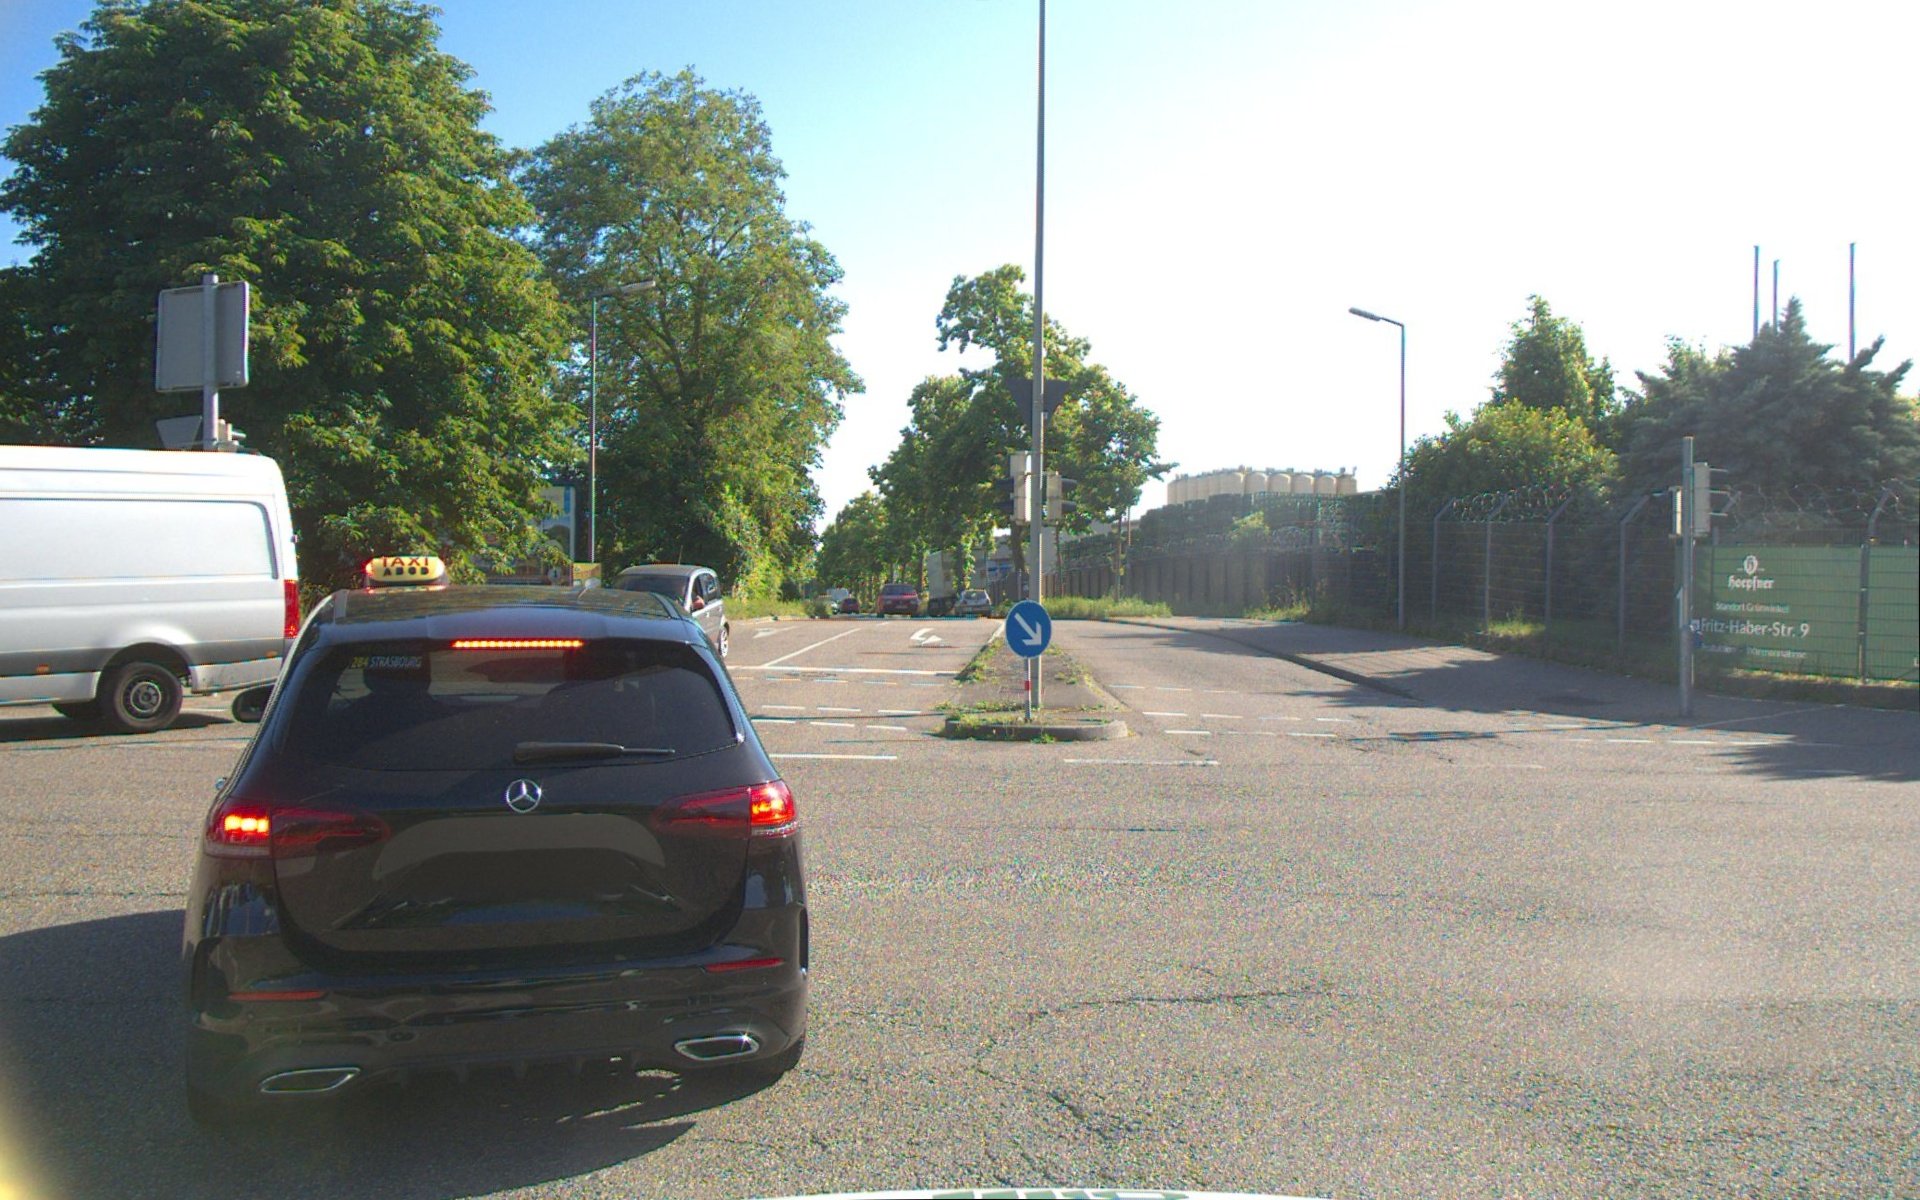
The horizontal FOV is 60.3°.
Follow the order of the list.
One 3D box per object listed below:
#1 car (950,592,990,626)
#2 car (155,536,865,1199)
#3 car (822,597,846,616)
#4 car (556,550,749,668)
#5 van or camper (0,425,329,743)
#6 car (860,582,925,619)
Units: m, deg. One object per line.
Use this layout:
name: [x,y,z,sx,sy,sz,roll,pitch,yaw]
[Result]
car: [0.495,0.450,84.354,1.657,1.660,3.125,0,0,-8]
car: [-1.591,0.650,6.147,1.740,1.620,3.974,0,0,-15]
car: [-9.937,0.520,130.201,1.821,1.495,4.134,0,0,-5]
car: [-4.621,0.129,25.458,1.766,1.668,4.003,0,0,7]
van or camper: [-9.595,-0.157,14.861,7.022,2.787,2.198,1,-1,-43]
car: [-2.881,0.019,69.733,1.827,1.495,4.120,0,0,-16]
